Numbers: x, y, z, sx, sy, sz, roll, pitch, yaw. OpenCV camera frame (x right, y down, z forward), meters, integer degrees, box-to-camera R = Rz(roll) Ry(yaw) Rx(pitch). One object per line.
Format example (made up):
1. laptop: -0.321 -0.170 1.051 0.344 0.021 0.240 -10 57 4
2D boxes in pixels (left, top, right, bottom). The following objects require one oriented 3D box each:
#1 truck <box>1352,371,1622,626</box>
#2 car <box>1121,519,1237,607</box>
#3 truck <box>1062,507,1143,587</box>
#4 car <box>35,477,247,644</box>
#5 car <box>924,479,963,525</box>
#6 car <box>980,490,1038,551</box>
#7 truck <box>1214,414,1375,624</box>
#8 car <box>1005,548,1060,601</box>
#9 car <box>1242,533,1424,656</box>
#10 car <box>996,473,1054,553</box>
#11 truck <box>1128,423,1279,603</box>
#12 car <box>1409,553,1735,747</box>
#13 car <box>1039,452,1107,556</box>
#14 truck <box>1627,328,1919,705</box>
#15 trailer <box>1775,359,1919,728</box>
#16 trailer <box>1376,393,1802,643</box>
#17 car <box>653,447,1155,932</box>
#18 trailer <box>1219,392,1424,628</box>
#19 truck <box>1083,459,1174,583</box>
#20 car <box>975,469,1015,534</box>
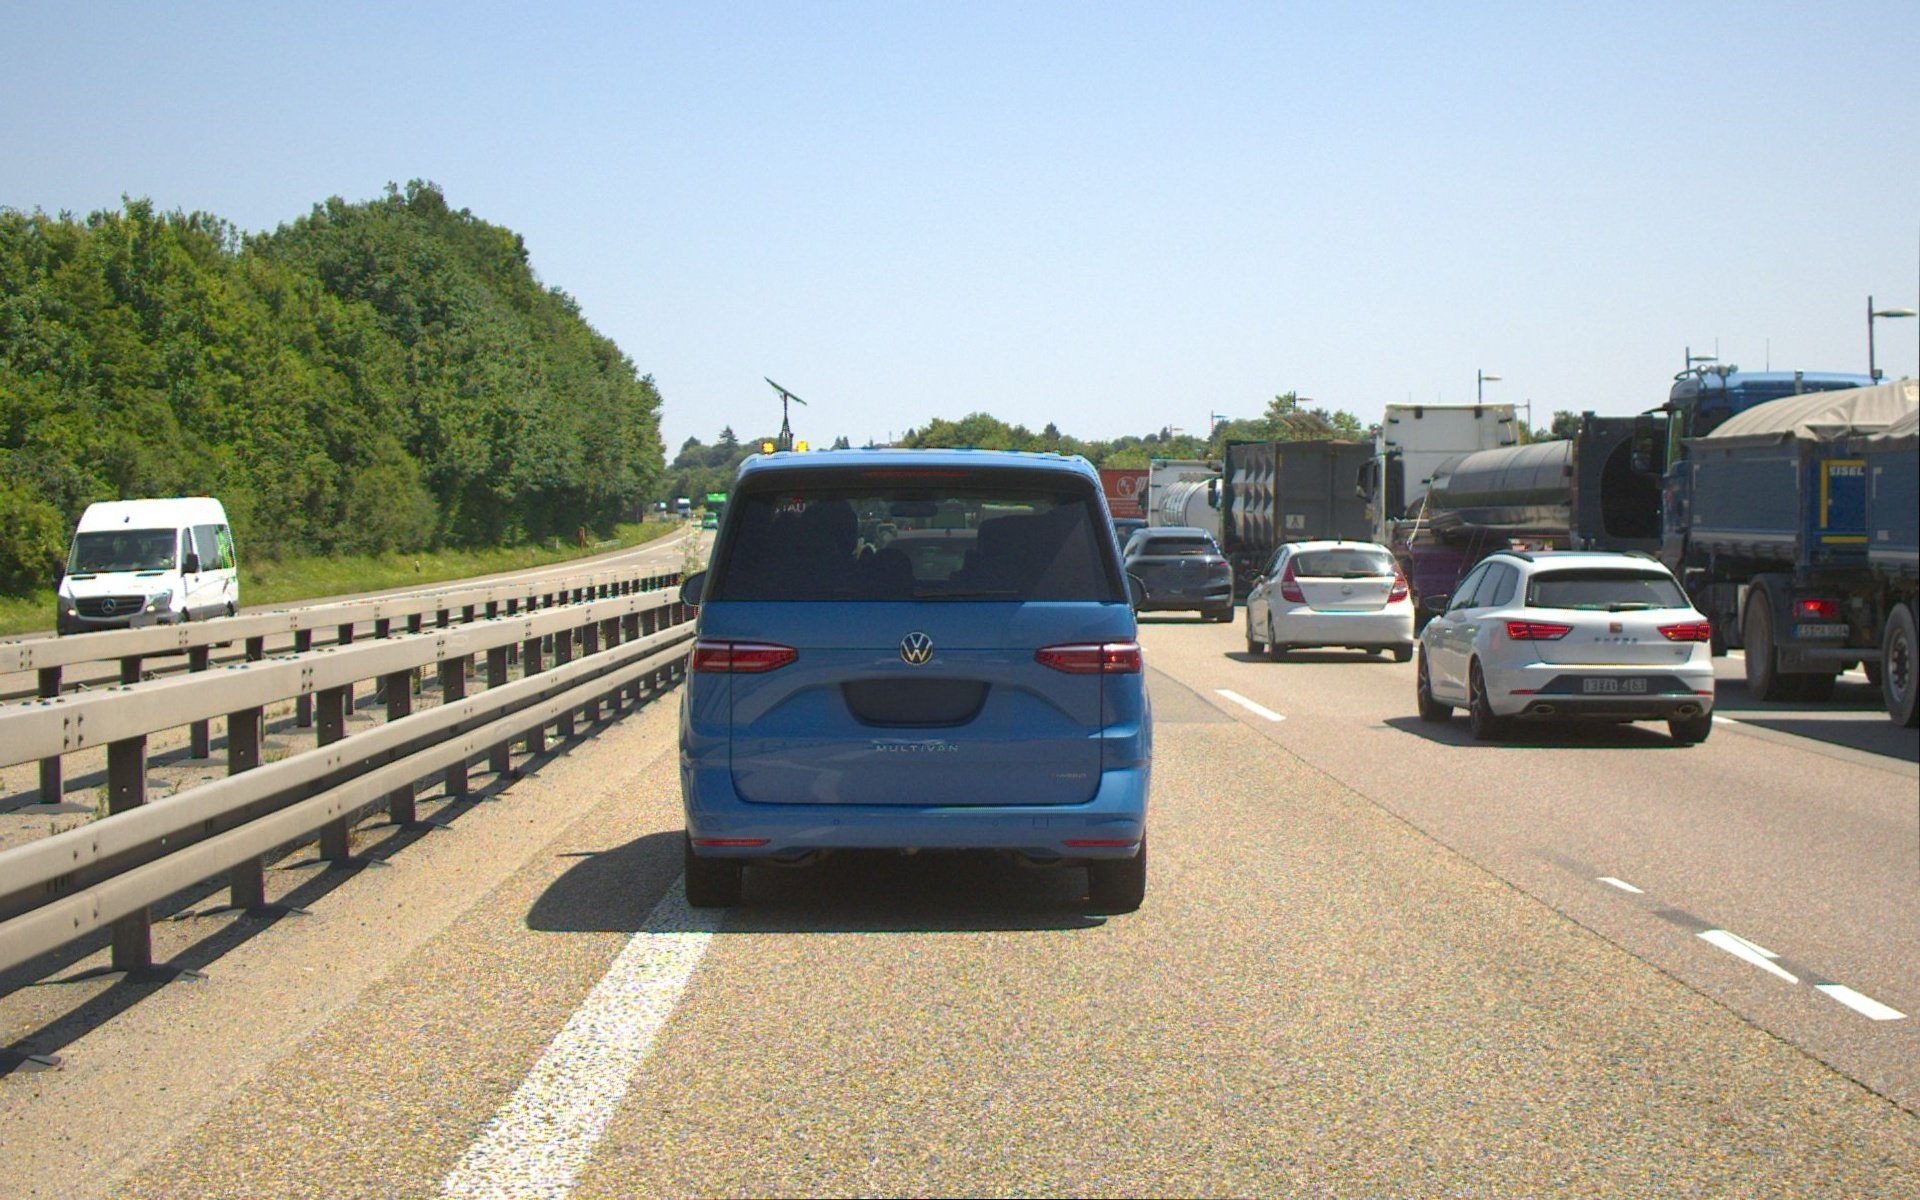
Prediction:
1. truck: 8.973 -1.673 59.529 3.626 4.080 7.524 1 0 1
2. car: 3.911 -0.664 62.011 1.781 1.519 4.000 1 0 -1
3. truck: 3.407 -1.262 82.887 1.725 1.851 4.000 1 0 -1
4. car: -13.534 -0.644 57.187 2.156 2.585 5.890 -1 0 -1
5. car: -1.232 -7.207 253.182 2.485 3.193 7.373 1 0 -3
6. car: 2.264 -3.692 160.011 2.550 2.708 5.621 1 0 -1
7. truck: 8.505 -2.021 88.129 3.659 5.162 5.708 1 0 2
8. car: 2.796 -0.993 133.297 1.993 2.007 4.000 1 0 -1
9. car: 4.655 -0.083 43.411 1.840 1.449 4.000 1 0 0
10. car: 4.367 -5.900 234.254 3.218 5.239 8.145 1 0 -4
11. truck: 7.489 -2.602 108.094 3.621 5.195 15.689 1 0 0
12. car: 4.664 0.332 26.743 1.867 1.356 4.000 1 1 1
13. car: 5.896 -5.006 181.404 3.218 5.239 8.144 1 0 0
14. truck: 8.671 -0.836 33.825 2.743 3.300 7.133 1 2 0
15. trailer: 8.716 -0.415 26.248 2.743 2.827 9.116 1 1 0
16. trailer: 8.780 -1.072 50.686 3.646 3.068 15.771 1 0 1
17. car: -0.183 0.327 15.177 1.901 1.831 4.000 1 0 1
18. trailer: 8.388 -2.013 81.709 3.646 5.119 13.075 1 0 1
19. truck: 6.931 -3.208 142.614 3.068 4.903 10.691 1 0 -1
20. car: 2.673 -7.536 264.367 2.716 4.697 11.561 1 0 -1
